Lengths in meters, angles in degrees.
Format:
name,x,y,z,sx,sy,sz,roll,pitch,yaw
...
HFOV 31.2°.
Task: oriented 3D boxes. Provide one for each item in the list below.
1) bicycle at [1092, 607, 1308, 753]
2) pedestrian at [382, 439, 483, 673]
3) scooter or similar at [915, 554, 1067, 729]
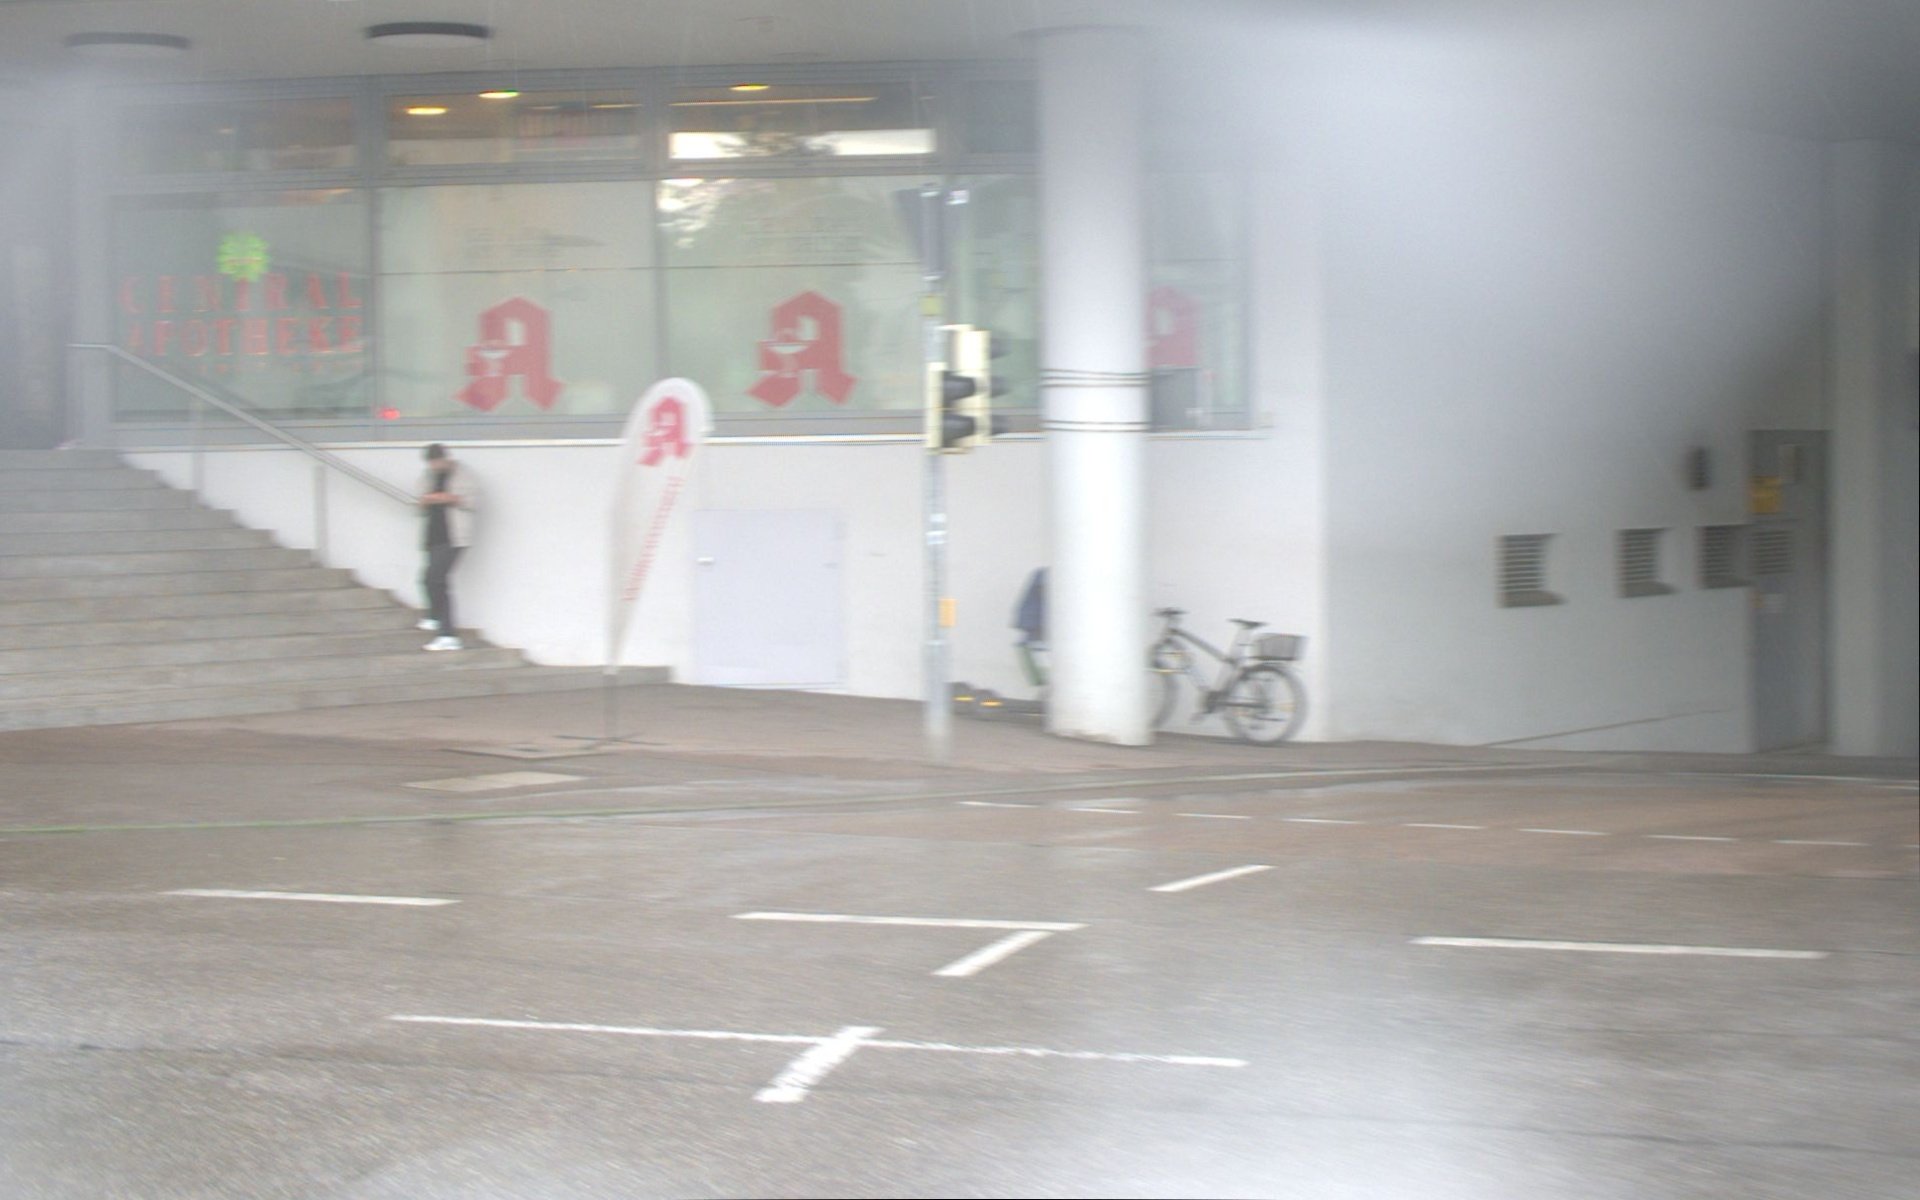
name,x,y,z,sx,sy,sz,roll,pitch,yaw
bicycle,1.939,0.647,27.788,1.581,1.014,0.452,5,1,-11
pedestrian,-4.352,-0.372,28.386,0.656,1.901,0.594,1,2,11
scooter or similar,0.256,0.330,27.859,1.166,1.368,0.489,1,2,4
